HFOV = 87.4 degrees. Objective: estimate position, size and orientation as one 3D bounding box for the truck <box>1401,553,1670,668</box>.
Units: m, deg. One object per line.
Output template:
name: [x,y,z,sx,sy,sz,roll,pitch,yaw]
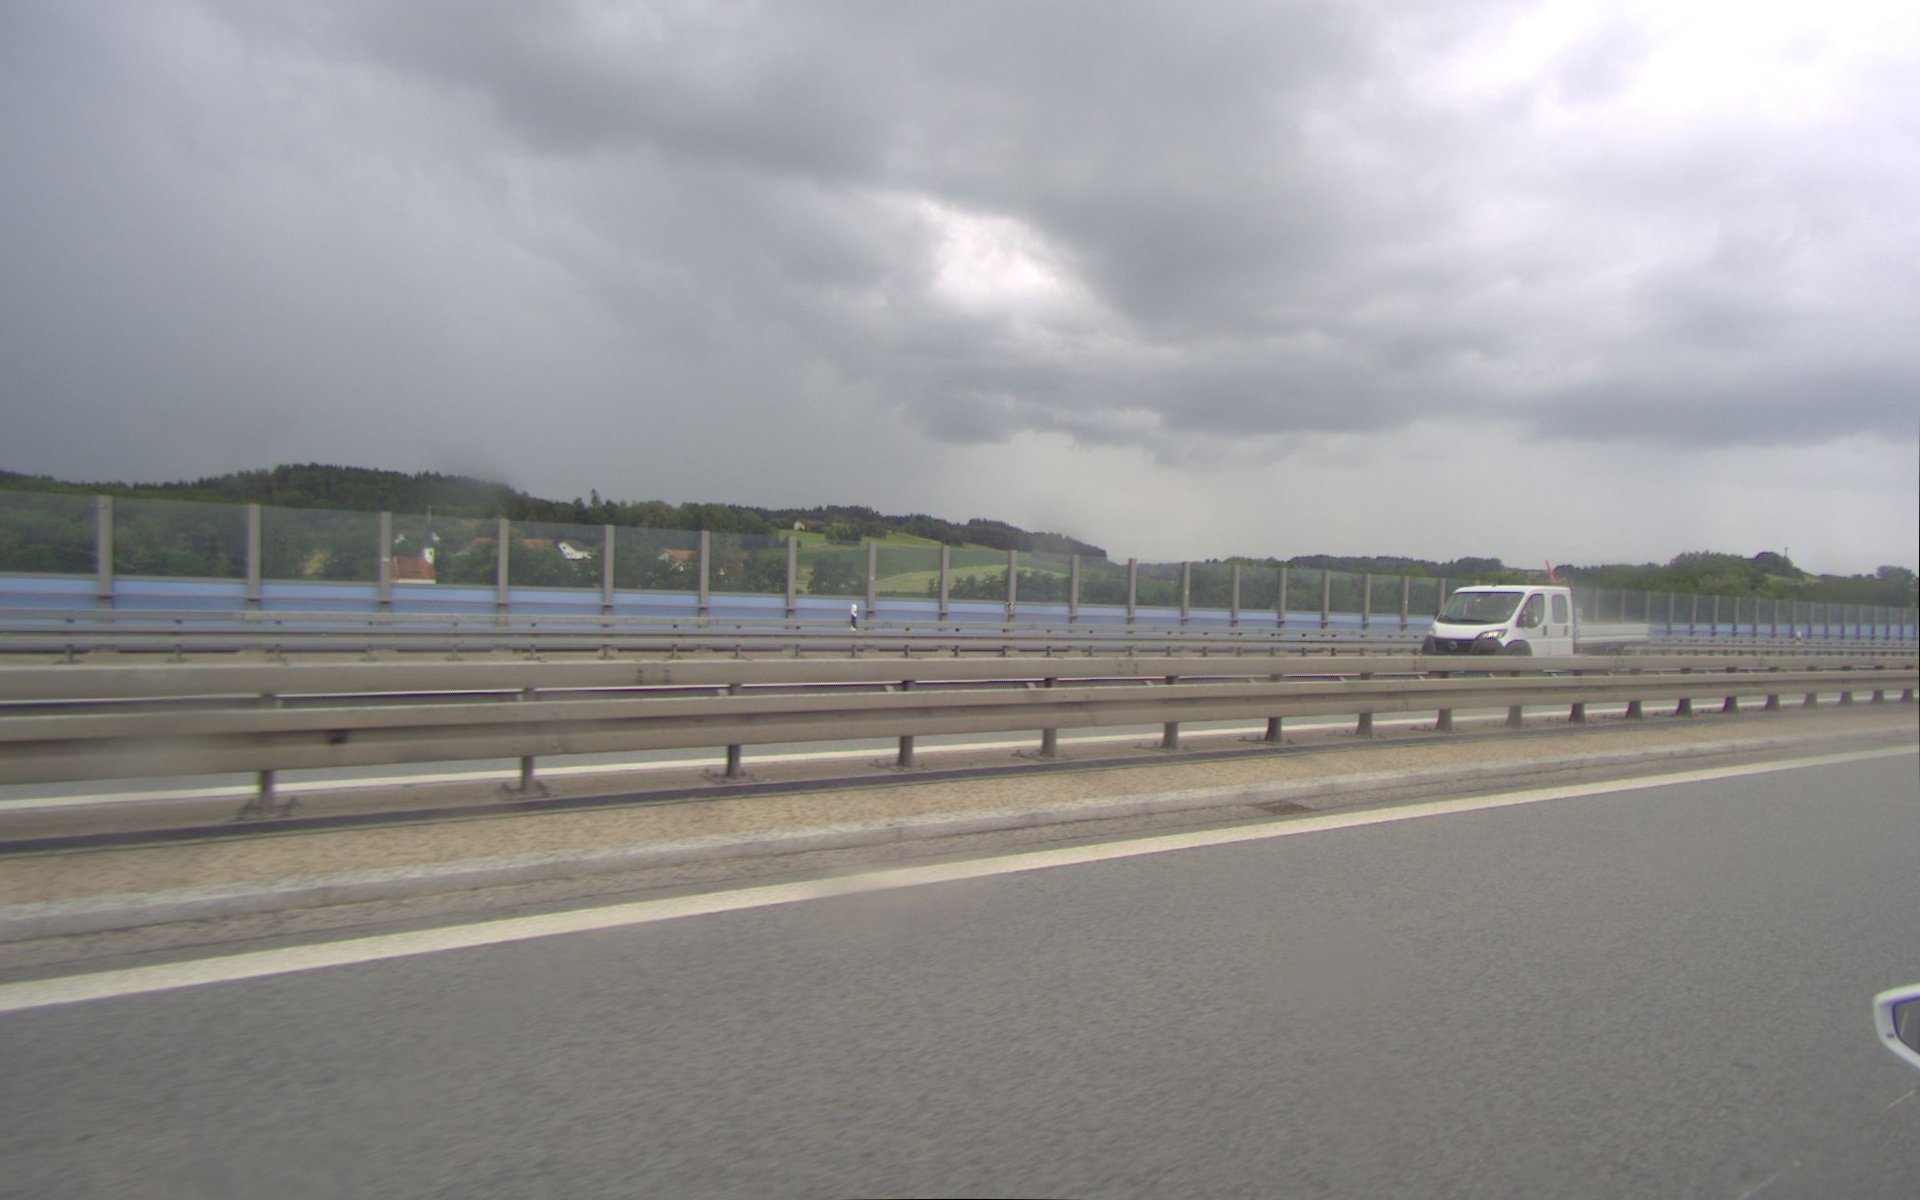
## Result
truck: [14.026,0.299,24.273,7.364,2.464,2.261,2,0,-30]
